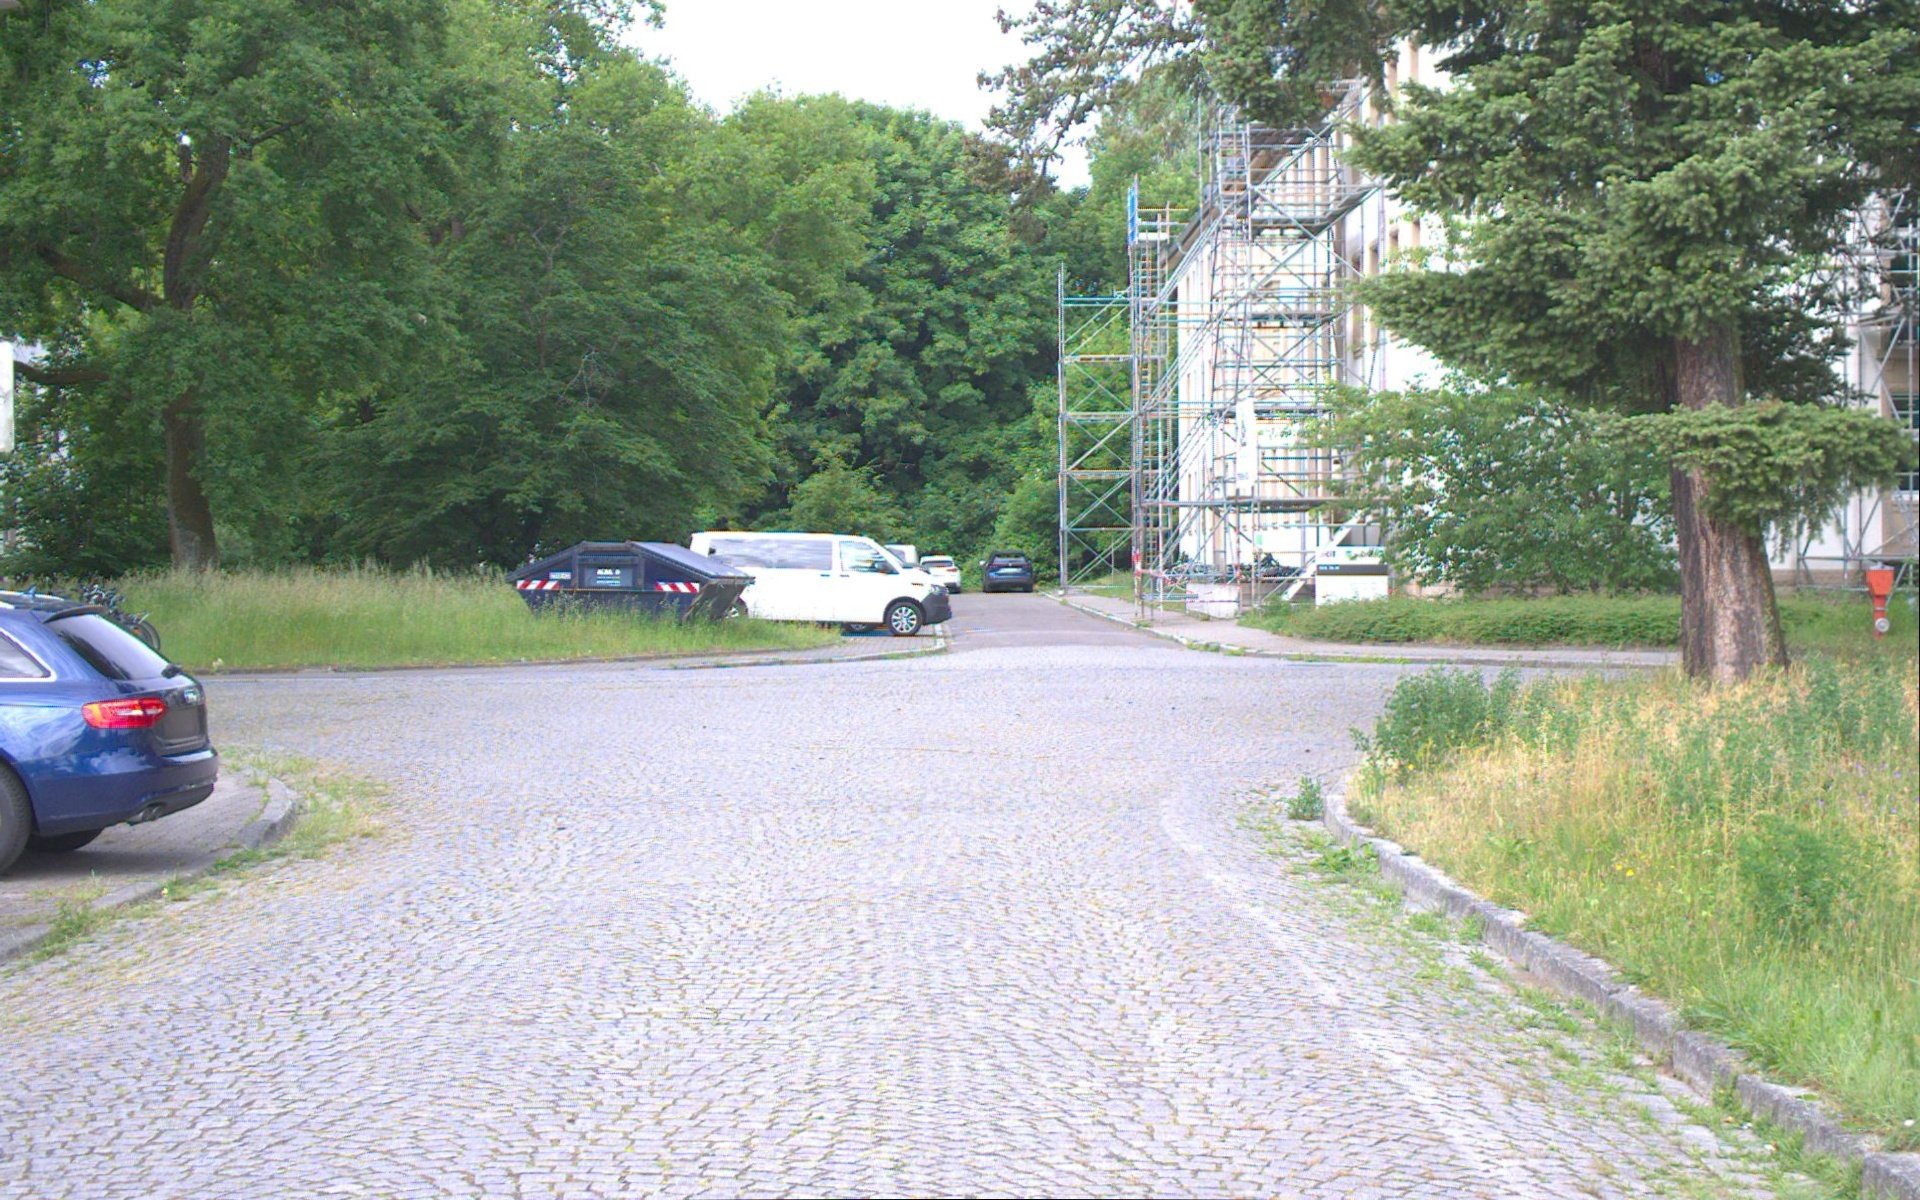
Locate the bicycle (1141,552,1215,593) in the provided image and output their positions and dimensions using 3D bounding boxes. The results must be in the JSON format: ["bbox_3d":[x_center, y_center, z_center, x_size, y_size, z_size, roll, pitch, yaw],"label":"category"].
[{"bbox_3d":[6.701,-0.844,105.541,2.240,1.250,0.634,0,1,2],"label":"bicycle"}]

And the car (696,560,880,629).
[{"bbox_3d":[-3.572,-0.120,71.872,3.788,1.390,2.000,0,1,-2],"label":"car"}]

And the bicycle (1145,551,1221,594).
[{"bbox_3d":[6.697,-0.829,103.328,2.240,1.250,0.627,0,1,2],"label":"bicycle"}]

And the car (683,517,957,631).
[{"bbox_3d":[-2.715,-0.509,66.744,5.234,2.160,2.000,0,1,-3],"label":"car"}]

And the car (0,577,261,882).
[{"bbox_3d":[-6.008,0.610,17.920,4.303,1.456,1.975,1,1,1],"label":"car"}]

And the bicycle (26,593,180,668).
[{"bbox_3d":[-11.709,0.411,46.990,1.957,0.986,0.627,-1,1,-23],"label":"bicycle"}]

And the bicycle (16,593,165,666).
[{"bbox_3d":[-12.281,0.408,48.587,1.957,0.986,0.627,-1,1,-23],"label":"bicycle"}]

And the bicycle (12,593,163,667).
[{"bbox_3d":[-12.176,0.411,47.961,1.957,0.986,0.627,-1,1,-23],"label":"bicycle"}]

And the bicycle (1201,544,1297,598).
[{"bbox_3d":[6.854,-0.689,81.641,2.240,1.250,0.777,0,1,2],"label":"bicycle"}]

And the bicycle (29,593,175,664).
[{"bbox_3d":[-12.345,0.403,49.463,1.957,0.986,0.627,-1,1,-23],"label":"bicycle"}]

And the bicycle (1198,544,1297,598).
[{"bbox_3d":[6.663,-0.674,79.728,2.240,1.250,0.777,0,1,2],"label":"bicycle"}]

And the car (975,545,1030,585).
[{"bbox_3d":[1.622,-1.361,133.047,1.951,1.516,4.000,0,1,-2],"label":"car"}]

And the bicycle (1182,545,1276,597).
[{"bbox_3d":[6.564,-0.701,83.985,2.240,1.250,0.777,0,1,2],"label":"bicycle"}]

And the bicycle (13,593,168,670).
[{"bbox_3d":[-11.728,0.416,46.366,1.957,0.986,0.627,-1,1,-21],"label":"bicycle"}]

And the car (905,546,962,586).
[{"bbox_3d":[-1.053,-1.324,132.744,2.118,1.516,4.000,0,1,-2],"label":"car"}]

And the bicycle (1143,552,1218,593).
[{"bbox_3d":[6.704,-0.839,104.696,2.240,1.250,0.698,0,1,2],"label":"bicycle"}]

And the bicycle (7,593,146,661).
[{"bbox_3d":[-13.337,0.399,51.895,1.957,0.986,0.627,-1,1,-23],"label":"bicycle"}]

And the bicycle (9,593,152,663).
[{"bbox_3d":[-12.985,0.402,50.770,1.957,0.986,0.627,-1,1,-23],"label":"bicycle"}]
